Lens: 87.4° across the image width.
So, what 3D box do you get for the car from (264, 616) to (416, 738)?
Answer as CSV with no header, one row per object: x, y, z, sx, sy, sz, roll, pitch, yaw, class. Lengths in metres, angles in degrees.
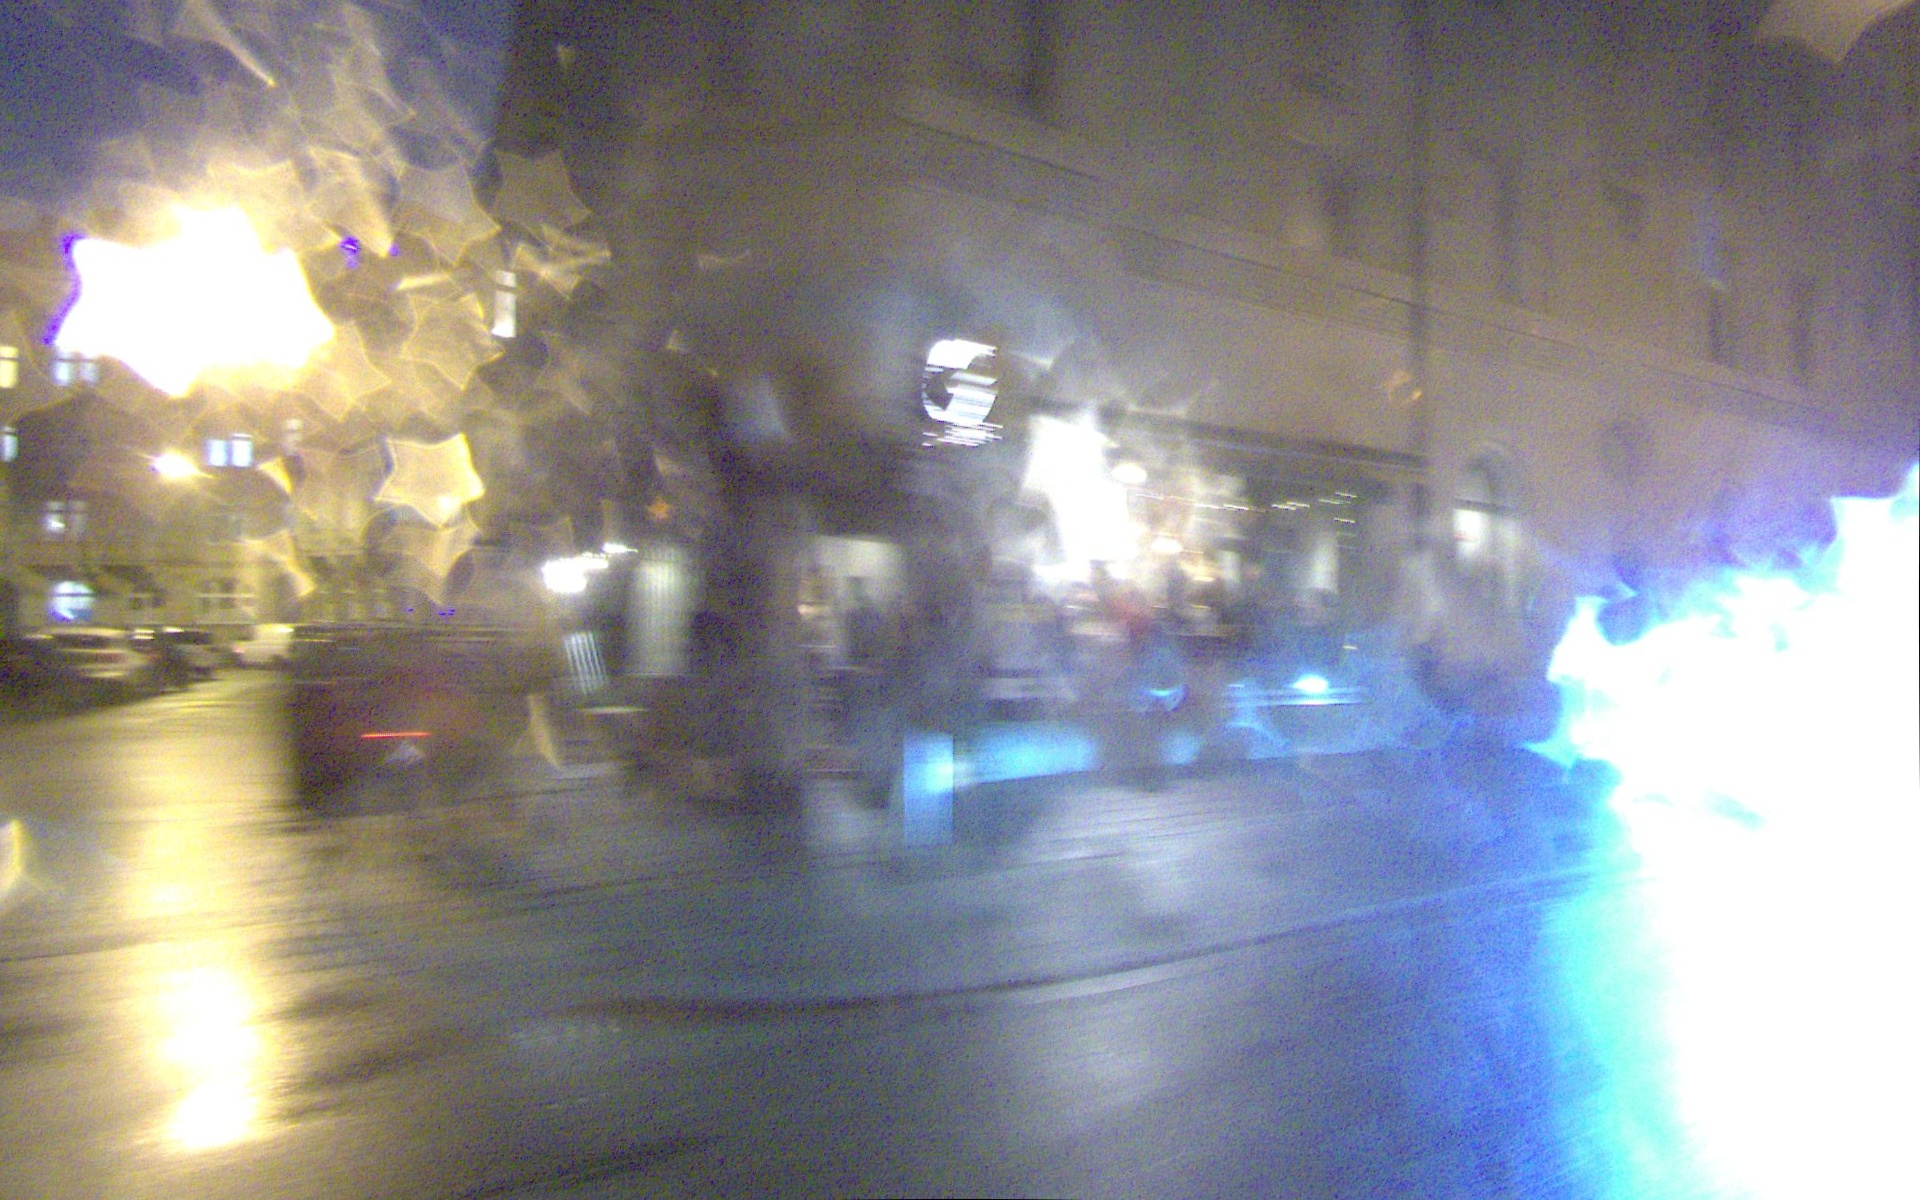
-10.047,1.138,16.507,1.864,1.703,3.969,1,-1,-29,car

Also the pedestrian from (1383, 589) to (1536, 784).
4.956,0.815,10.007,0.778,1.806,1.127,1,-1,-29,pedestrian

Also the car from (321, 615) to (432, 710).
-12.461,1.286,21.582,1.864,1.836,3.970,1,-2,-29,car

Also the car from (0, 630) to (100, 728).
-16.802,1.322,17.638,1.833,1.468,3.968,1,-1,-30,car

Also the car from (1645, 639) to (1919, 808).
8.934,1.111,10.211,4.172,1.377,1.646,1,-1,-30,car

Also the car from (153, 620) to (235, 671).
-26.833,1.545,35.314,1.834,1.629,3.966,1,-1,-31,car

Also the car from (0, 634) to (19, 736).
-14.145,1.182,13.091,1.833,1.468,3.969,1,-2,-30,car

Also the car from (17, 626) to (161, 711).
-19.244,1.435,22.365,1.835,1.629,3.964,1,-1,-33,car

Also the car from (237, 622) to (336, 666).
-28.550,1.825,42.563,4.018,1.692,1.819,0,-1,29,car

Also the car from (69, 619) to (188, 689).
-21.890,1.371,26.604,1.834,1.629,3.966,1,-1,-31,car

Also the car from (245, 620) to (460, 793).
-6.838,1.042,11.525,1.770,1.559,3.969,1,-1,-29,car
